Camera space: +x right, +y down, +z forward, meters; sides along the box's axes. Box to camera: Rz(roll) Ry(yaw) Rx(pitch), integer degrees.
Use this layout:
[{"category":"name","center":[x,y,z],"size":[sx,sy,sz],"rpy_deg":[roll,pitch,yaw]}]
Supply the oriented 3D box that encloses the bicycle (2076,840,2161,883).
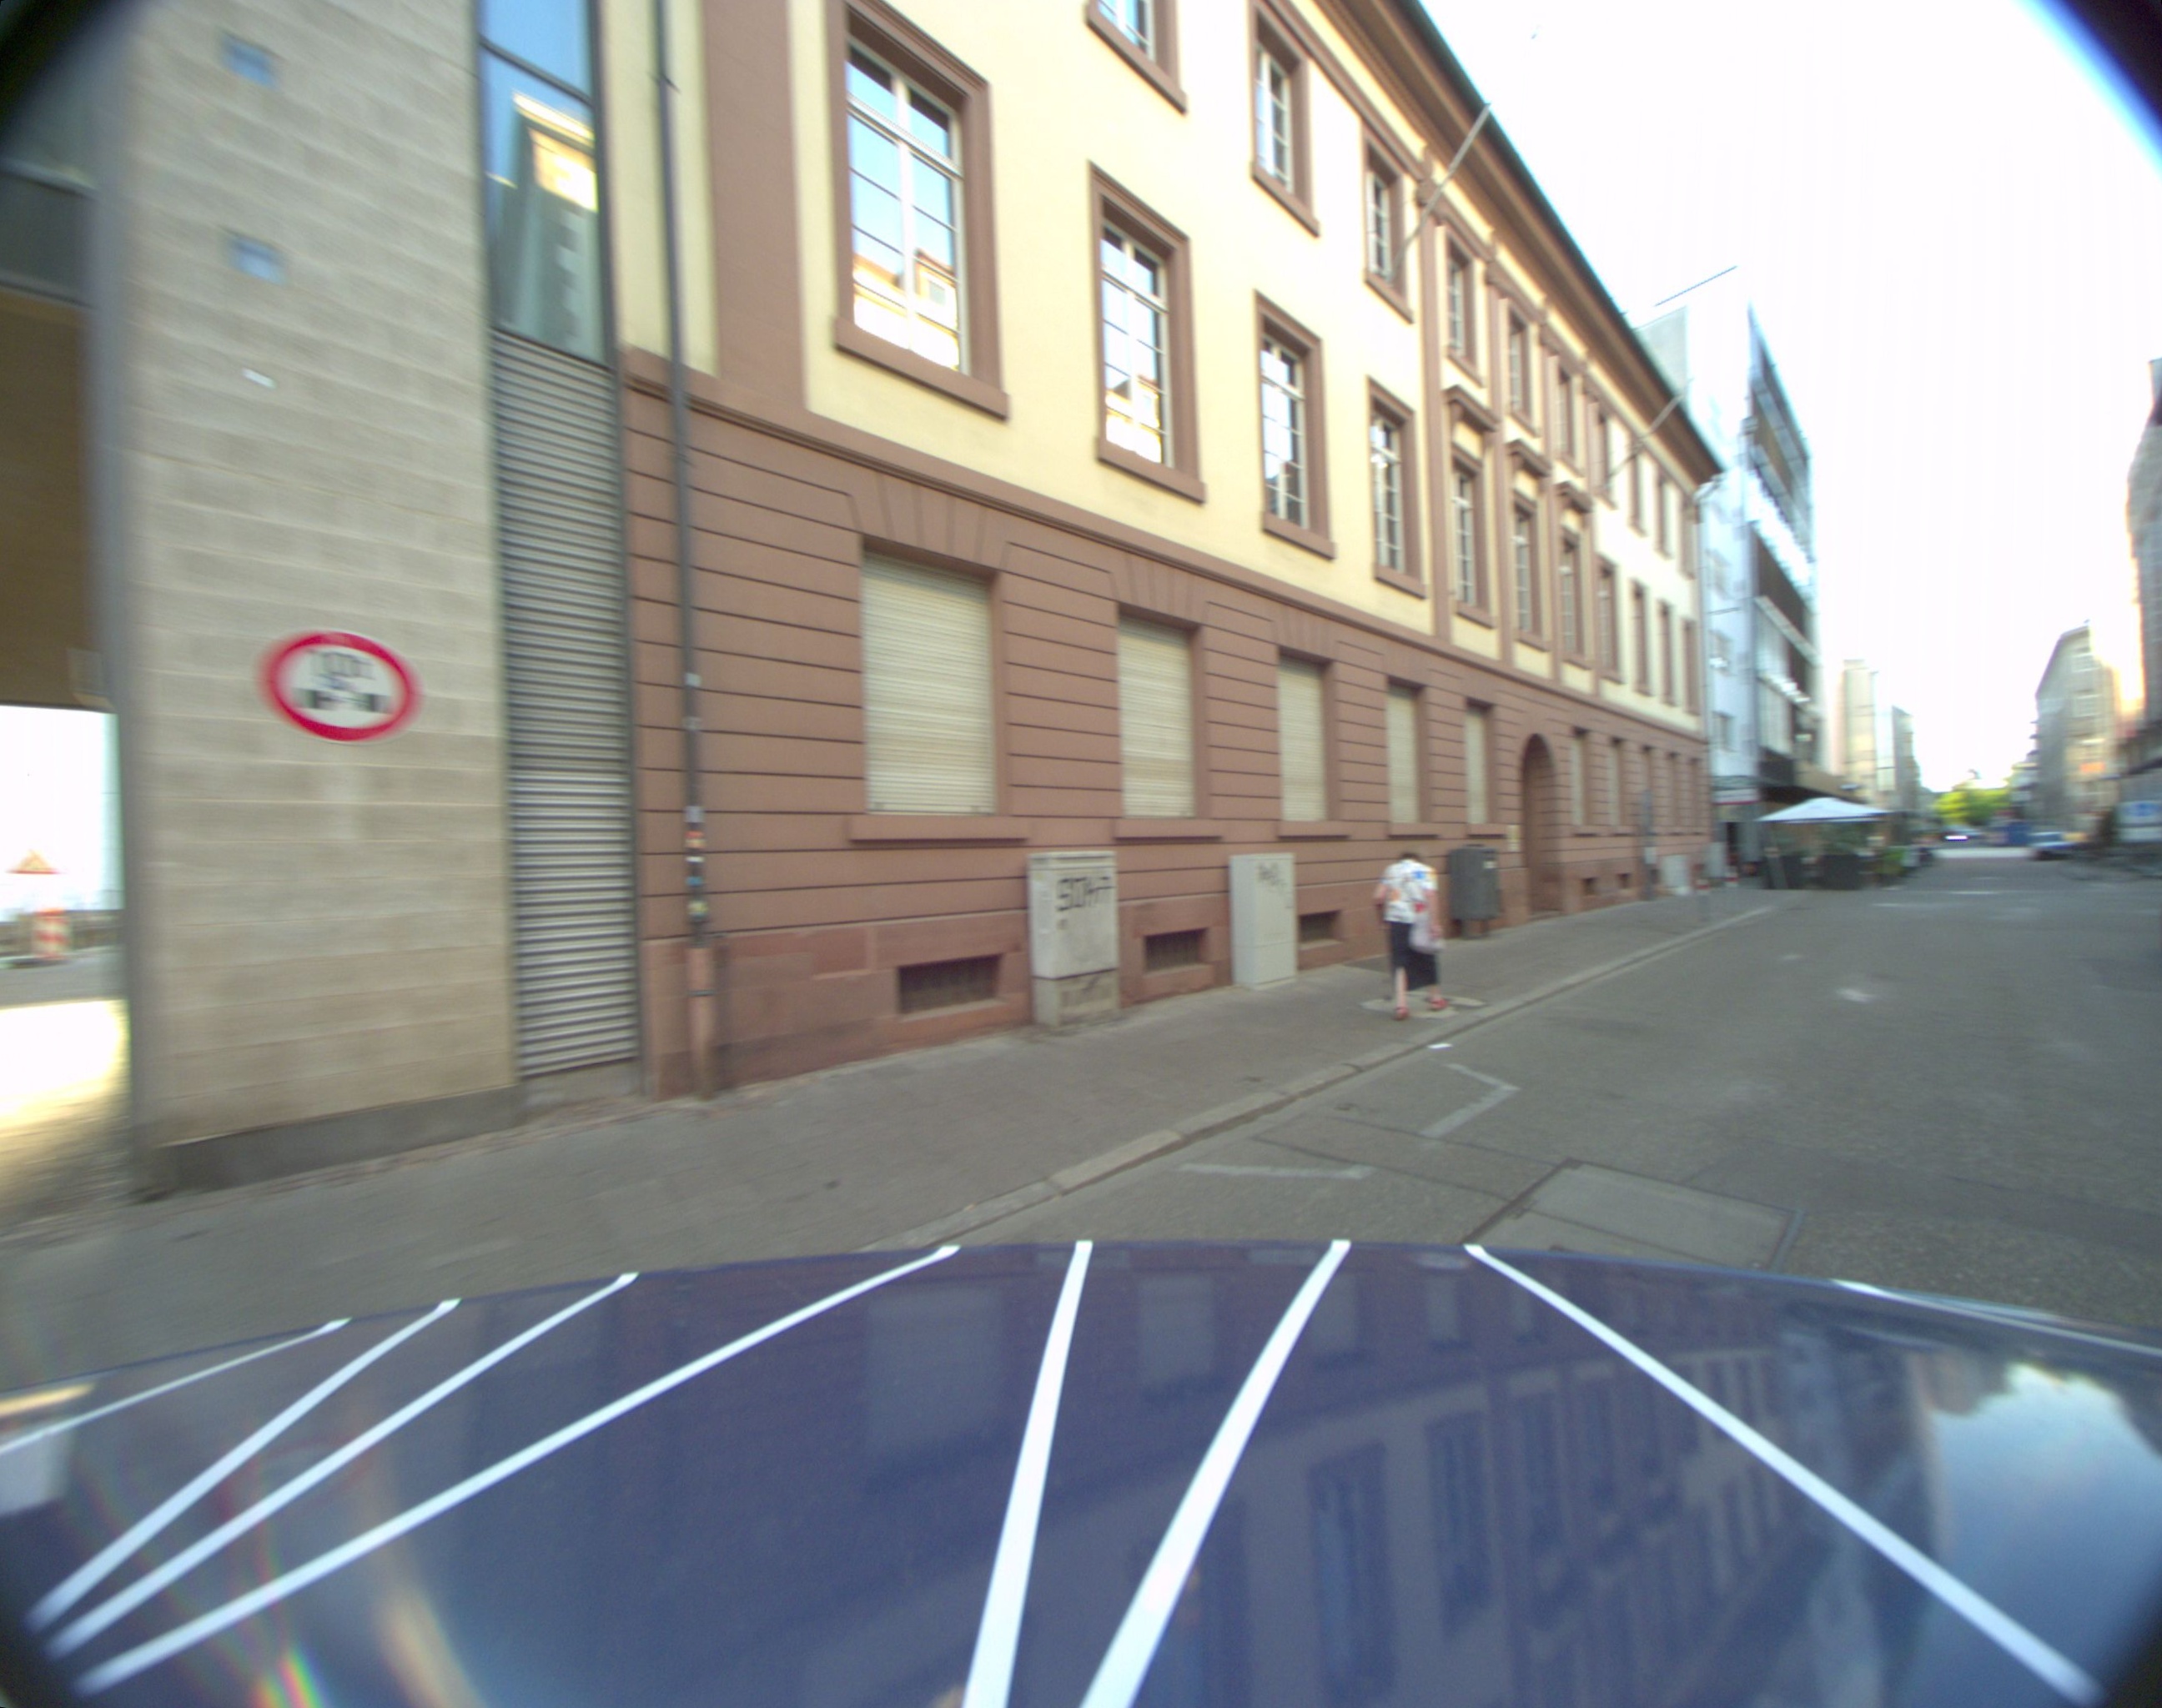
[{"category":"bicycle","center":[28.072,0.199,20.387],"size":[0.621,1.112,1.604],"rpy_deg":[-2,0,-40]}]

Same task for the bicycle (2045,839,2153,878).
[{"category":"bicycle","center":[31.211,0.164,23.344],"size":[0.527,1.123,1.949],"rpy_deg":[-2,0,-40]}]

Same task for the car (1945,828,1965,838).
[{"category":"car","center":[102.730,-2.504,89.319],"size":[3.570,1.090,1.423],"rpy_deg":[-2,-1,-41]}]

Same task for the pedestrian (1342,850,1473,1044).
[{"category":"pedestrian","center":[3.089,0.808,7.184],"size":[0.932,1.661,0.810],"rpy_deg":[-2,2,-42]}]

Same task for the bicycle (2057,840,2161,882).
[{"category":"bicycle","center":[29.206,0.216,21.474],"size":[0.621,1.123,1.949],"rpy_deg":[-2,0,-40]}]

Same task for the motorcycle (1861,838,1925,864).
[{"category":"motorcycle","center":[41.690,-0.153,39.047],"size":[0.652,1.275,2.188],"rpy_deg":[-2,2,-39]}]

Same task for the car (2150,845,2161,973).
[{"category":"car","center":[12.226,0.669,7.492],"size":[3.162,1.433,1.633],"rpy_deg":[-2,3,-40]}]

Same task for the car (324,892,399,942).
[{"category":"car","center":[-25.683,2.191,27.089],"size":[3.435,1.484,1.605],"rpy_deg":[-1,1,42]}]

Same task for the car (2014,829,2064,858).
[{"category":"car","center":[49.884,-0.545,39.608],"size":[3.902,1.409,1.423],"rpy_deg":[-2,-1,-41]}]

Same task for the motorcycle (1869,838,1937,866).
[{"category":"motorcycle","center":[39.936,-0.101,36.955],"size":[0.652,1.275,2.188],"rpy_deg":[-2,2,-39]}]

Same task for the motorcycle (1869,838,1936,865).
[{"category":"motorcycle","center":[40.638,-0.124,37.620],"size":[0.652,1.275,2.188],"rpy_deg":[-2,2,-39]}]

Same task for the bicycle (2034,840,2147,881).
[{"category":"bicycle","center":[29.680,0.203,22.382],"size":[0.621,1.123,1.949],"rpy_deg":[-2,0,-40]}]
